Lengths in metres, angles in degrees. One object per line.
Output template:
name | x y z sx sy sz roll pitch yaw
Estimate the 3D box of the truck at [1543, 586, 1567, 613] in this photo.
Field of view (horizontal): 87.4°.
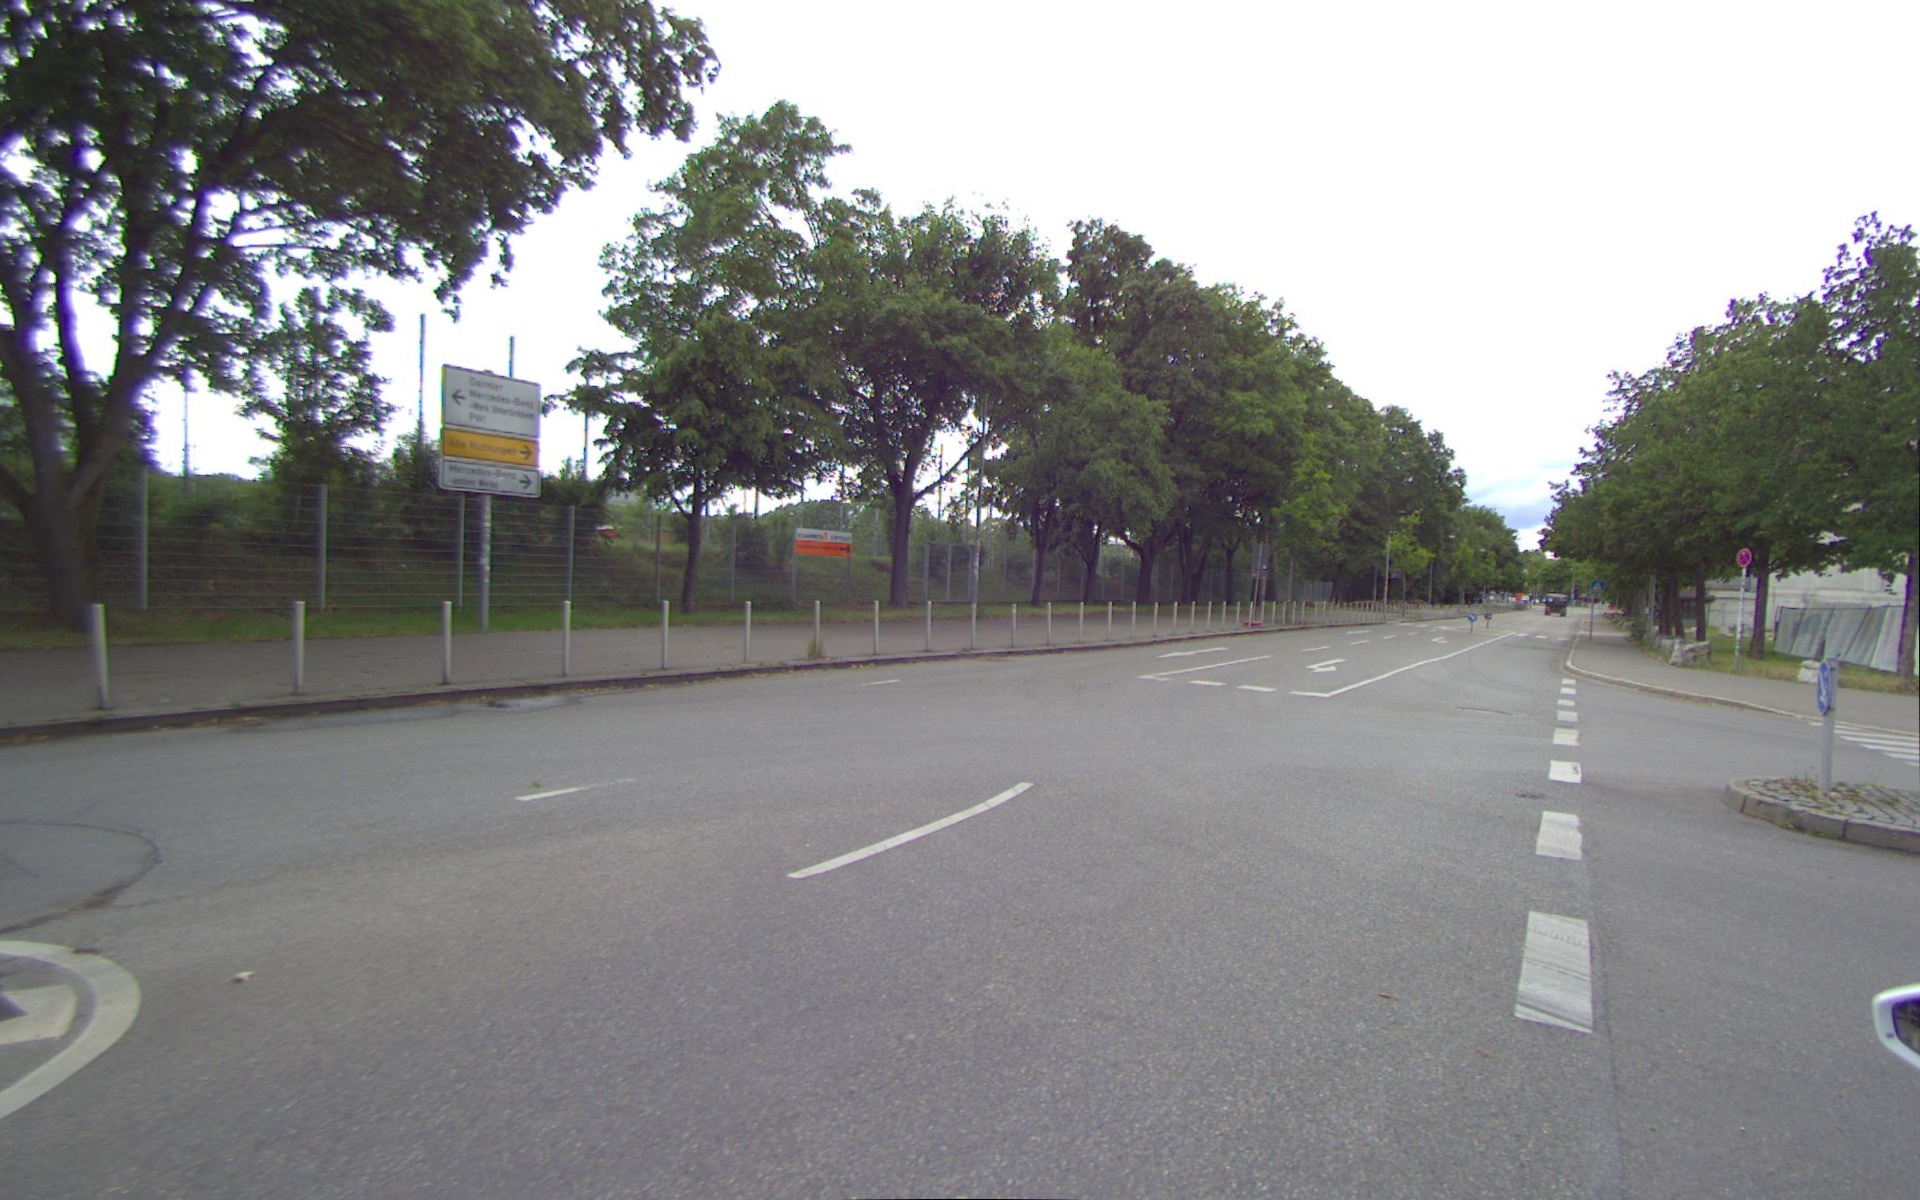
truck | 80.913 -0.008 136.566 2.635 3.606 7.905 0 -1 32
